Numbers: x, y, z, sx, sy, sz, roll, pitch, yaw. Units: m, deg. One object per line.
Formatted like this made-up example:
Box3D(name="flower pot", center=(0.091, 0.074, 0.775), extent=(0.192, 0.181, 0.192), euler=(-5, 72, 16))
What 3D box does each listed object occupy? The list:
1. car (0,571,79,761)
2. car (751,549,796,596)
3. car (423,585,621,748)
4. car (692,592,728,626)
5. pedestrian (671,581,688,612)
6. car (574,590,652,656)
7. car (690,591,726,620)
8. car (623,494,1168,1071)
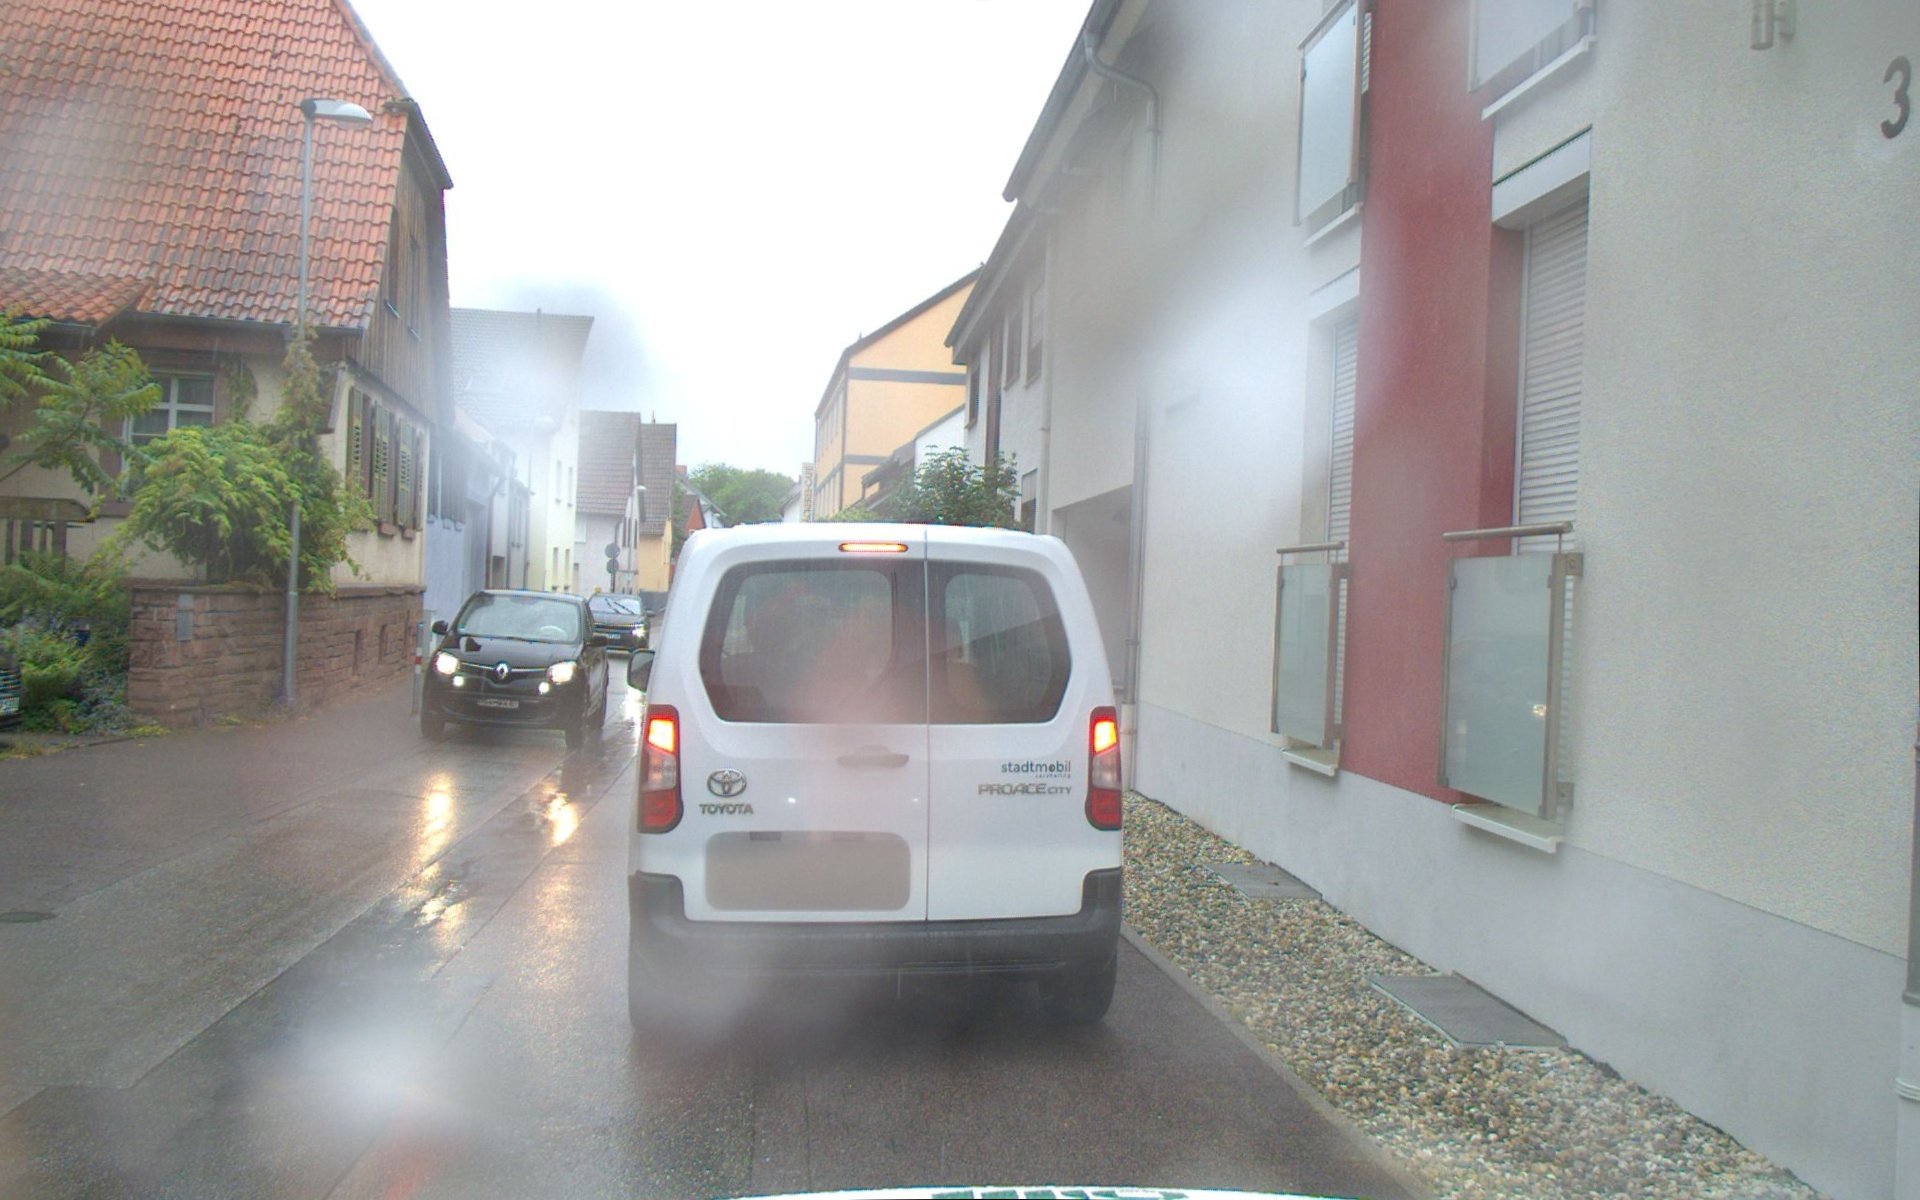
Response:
Box3D(name="car", center=(-9.399, 0.308, 12.947), extent=(3.908, 1.450, 1.735), euler=(7, -1, -1))
Box3D(name="car", center=(-8.570, -1.233, 76.198), extent=(1.955, 2.049, 3.995), euler=(1, 0, -6))
Box3D(name="car", center=(-4.654, 0.654, 18.019), extent=(1.574, 1.539, 3.681), euler=(2, 0, -8))
Box3D(name="car", center=(-11.328, 0.405, 74.848), extent=(1.532, 1.503, 3.990), euler=(1, 0, -10))
Box3D(name="pedestrian", center=(-17.935, -0.209, 105.708), extent=(1.031, 1.926, 0.875), euler=(1, -1, -9))
Box3D(name="car", center=(-9.115, 0.585, 43.657), extent=(1.799, 1.583, 4.229), euler=(2, 0, -10))
Box3D(name="car", center=(-13.105, 0.285, 85.981), extent=(1.747, 1.419, 3.990), euler=(1, 0, -10))
Box3D(name="car", center=(-0.493, 0.591, 7.318), extent=(1.742, 1.811, 3.991), euler=(1, 0, -9))
